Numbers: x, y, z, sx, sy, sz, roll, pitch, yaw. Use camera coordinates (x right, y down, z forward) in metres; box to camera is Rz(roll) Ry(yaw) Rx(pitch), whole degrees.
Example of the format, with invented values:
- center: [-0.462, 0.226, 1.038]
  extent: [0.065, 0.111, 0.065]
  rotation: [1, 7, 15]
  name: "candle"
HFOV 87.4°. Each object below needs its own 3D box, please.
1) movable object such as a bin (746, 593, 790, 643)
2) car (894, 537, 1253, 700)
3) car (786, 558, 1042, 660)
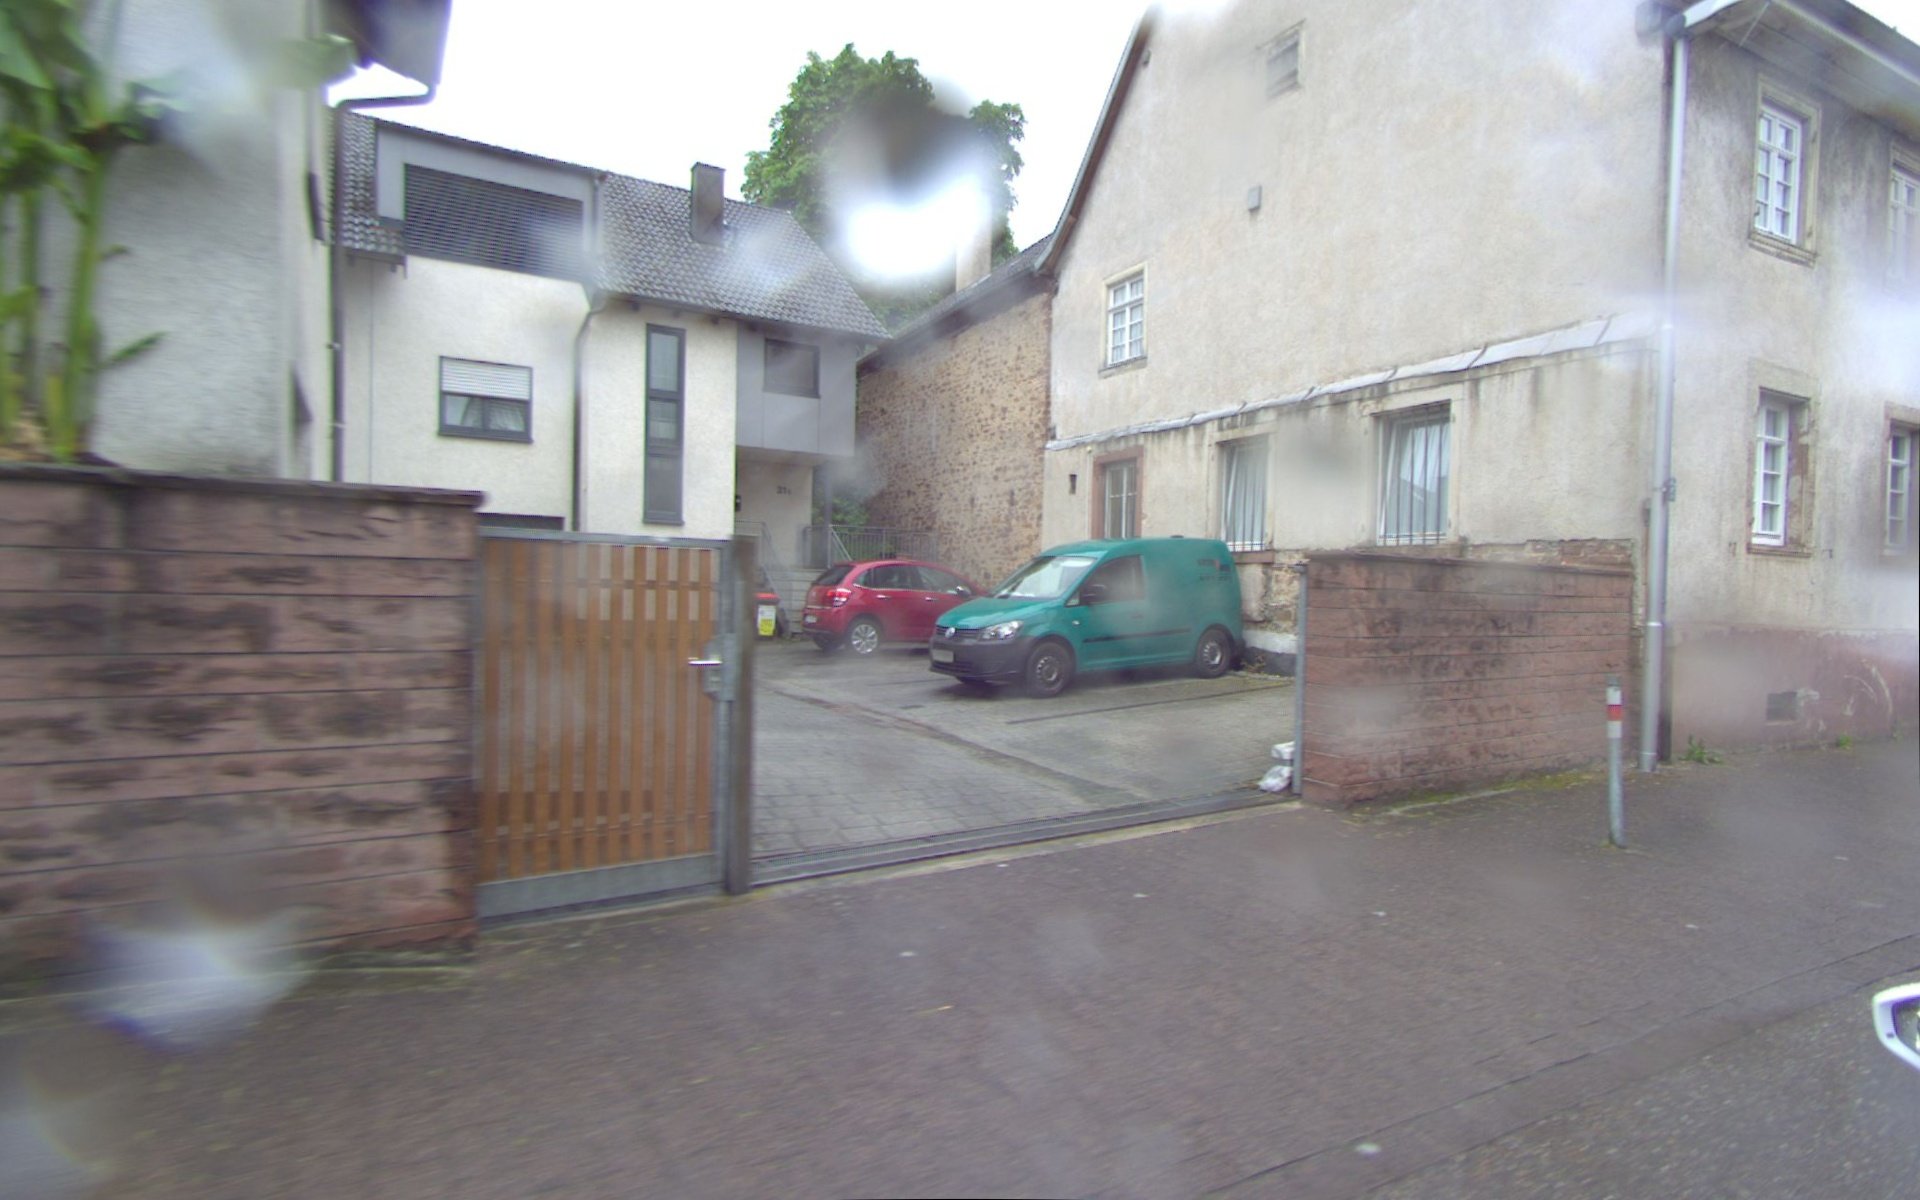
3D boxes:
- center: [-3.568, 0.330, 18.696]
  extent: [0.603, 0.870, 0.607]
  rotation: [2, 2, -31]
  name: "movable object such as a bin"
- center: [1.499, 0.110, 12.674]
  extent: [4.258, 1.739, 1.974]
  rotation: [-2, 3, -33]
  name: "car"
- center: [-0.757, 0.076, 16.947]
  extent: [3.952, 1.528, 1.792]
  rotation: [-1, 3, -30]
  name: "car"
